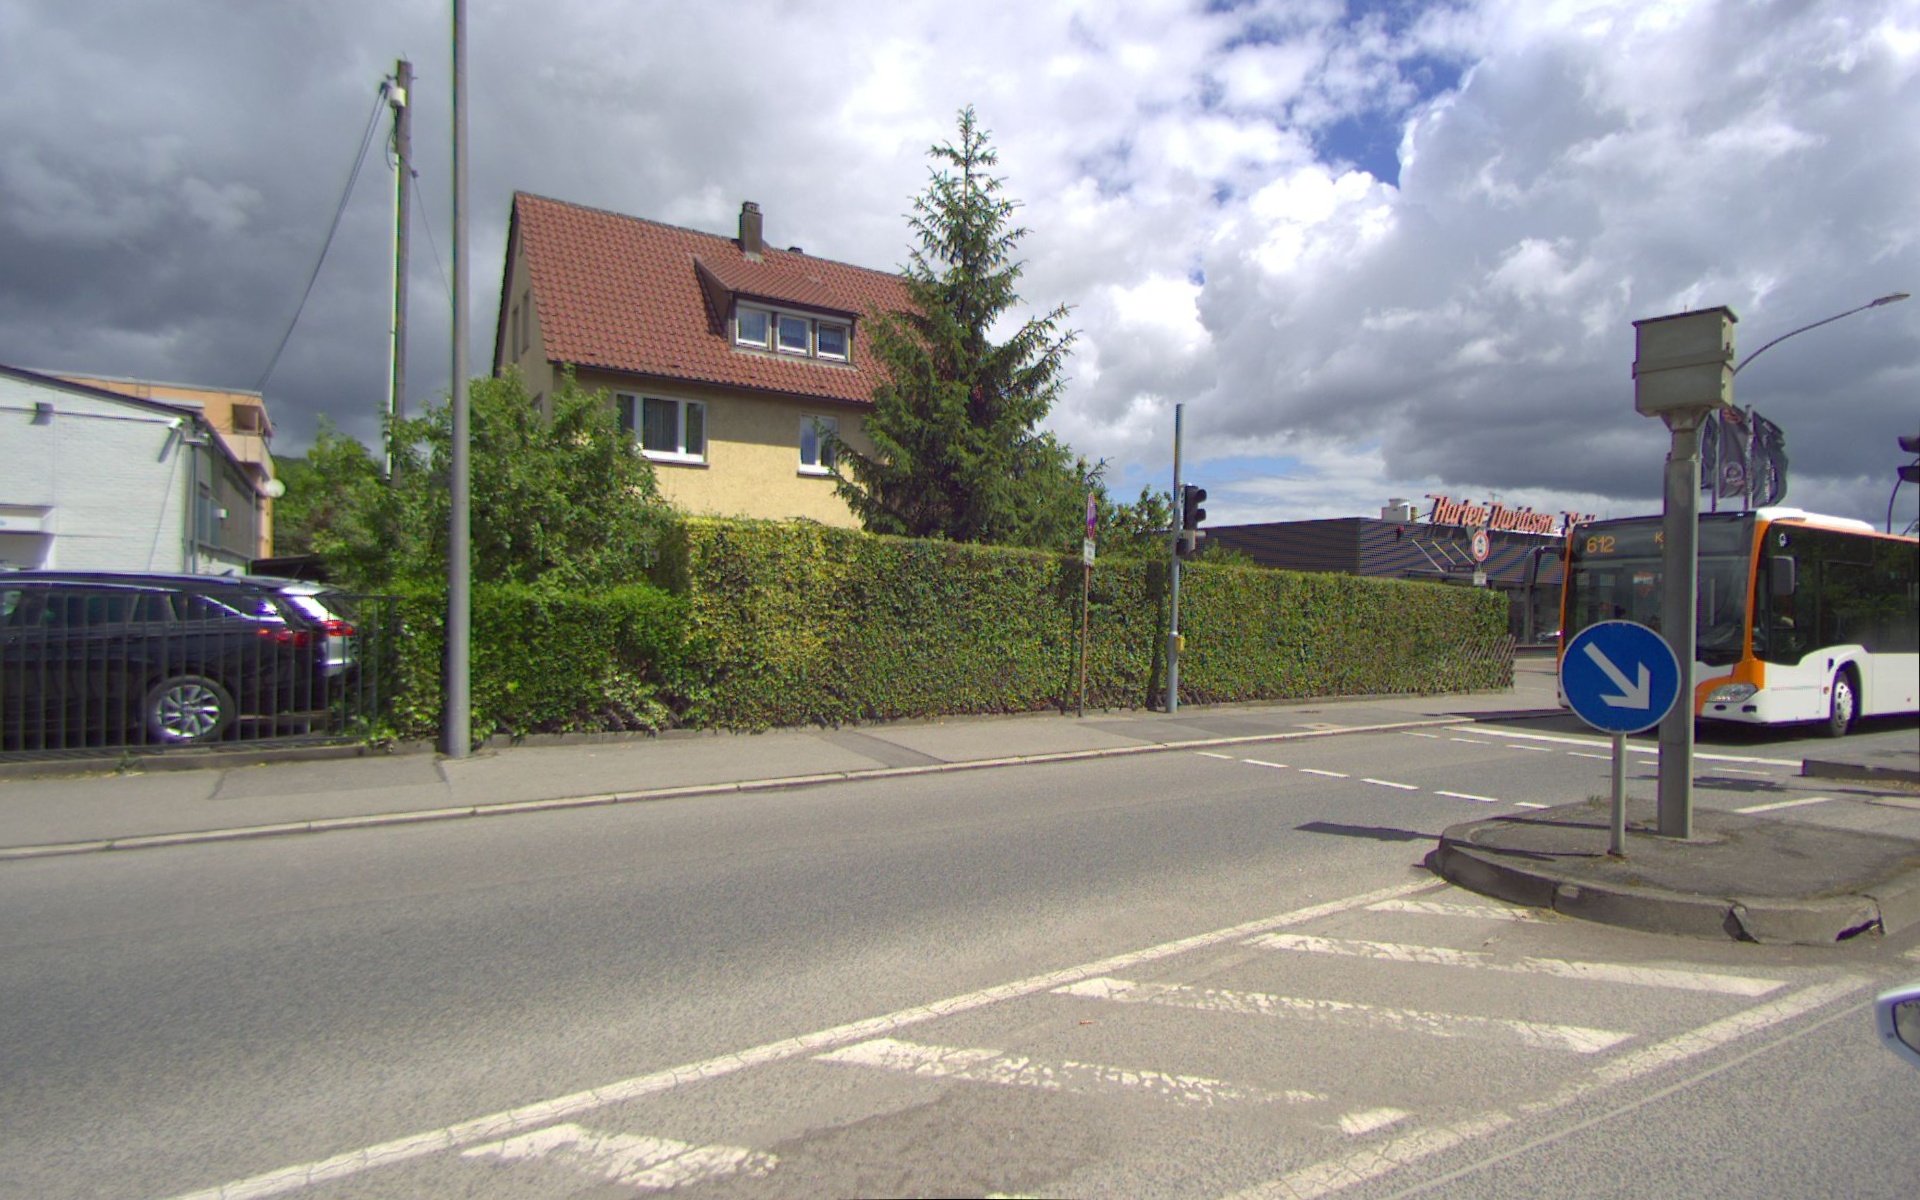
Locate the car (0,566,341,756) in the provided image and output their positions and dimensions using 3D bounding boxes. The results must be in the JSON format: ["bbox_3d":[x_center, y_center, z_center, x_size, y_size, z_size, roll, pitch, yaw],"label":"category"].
[{"bbox_3d":[-7.846,0.481,8.851,3.997,1.502,1.850,2,0,-31],"label":"car"}]

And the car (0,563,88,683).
[{"bbox_3d":[-17.978,0.348,17.418,3.953,2.040,1.984,2,0,-30],"label":"car"}]

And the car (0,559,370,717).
[{"bbox_3d":[-9.007,0.398,11.354,3.953,1.561,1.984,2,0,-30],"label":"car"}]

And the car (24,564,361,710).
[{"bbox_3d":[-11.818,0.563,15.879,3.953,2.040,1.984,2,0,-30],"label":"car"}]

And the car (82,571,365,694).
[{"bbox_3d":[-13.315,0.589,18.523,3.953,2.040,1.984,2,0,-30],"label":"car"}]

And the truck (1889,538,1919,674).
[{"bbox_3d":[31.933,0.283,31.859,6.448,4.107,2.775,2,0,-40],"label":"truck"}]

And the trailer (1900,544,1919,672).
[{"bbox_3d":[37.232,0.464,36.401,15.429,4.107,2.775,2,0,-40],"label":"trailer"}]

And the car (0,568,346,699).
[{"bbox_3d":[-10.715,0.437,13.626,3.953,1.569,1.984,2,0,-30],"label":"car"}]

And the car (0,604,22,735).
[{"bbox_3d":[-16.701,1.043,14.694,3.953,2.040,1.984,2,0,-30],"label":"car"}]

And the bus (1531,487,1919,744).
[{"bbox_3d":[14.077,0.368,16.294,12.123,3.071,2.706,2,-1,-31],"label":"bus"}]
